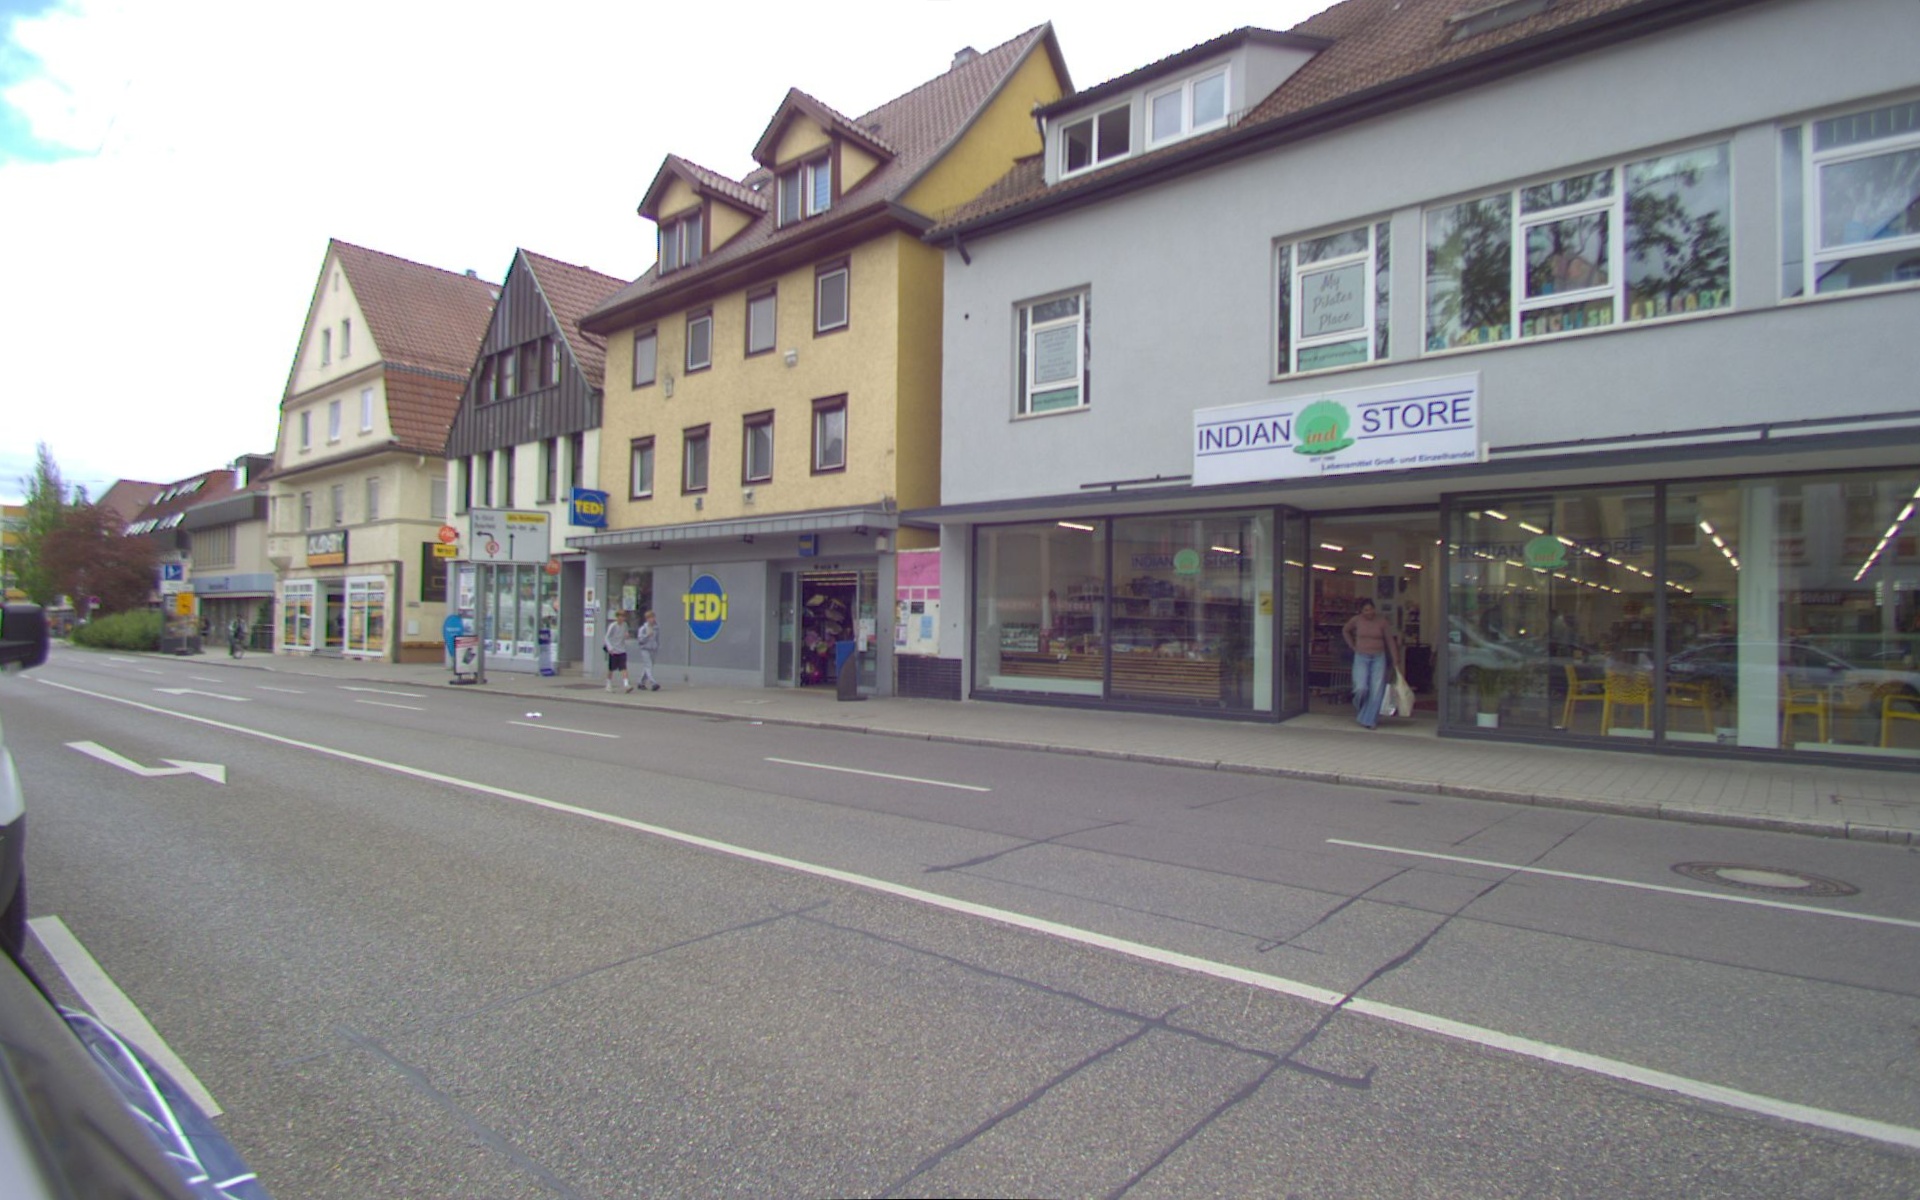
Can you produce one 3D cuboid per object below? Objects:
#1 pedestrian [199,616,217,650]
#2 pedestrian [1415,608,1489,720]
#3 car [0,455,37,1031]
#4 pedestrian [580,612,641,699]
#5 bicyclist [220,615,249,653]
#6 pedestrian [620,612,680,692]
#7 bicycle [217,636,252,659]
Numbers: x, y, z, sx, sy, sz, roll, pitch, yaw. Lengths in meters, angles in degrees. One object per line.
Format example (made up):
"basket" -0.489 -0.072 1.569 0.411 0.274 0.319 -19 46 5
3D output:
"pedestrian" -43.704 1.921 58.835 0.678 1.917 0.665 -1 -2 41
"pedestrian" 7.228 0.920 14.910 0.840 1.592 0.721 0 -2 15
"car" -6.062 0.548 4.754 5.777 1.994 1.915 -1 0 41
"pedestrian" -6.979 1.084 20.196 0.920 1.674 0.801 -1 -2 42
"bicyclist" -27.929 1.310 38.956 0.762 1.434 0.752 2 -2 -44
"pedestrian" -6.358 1.057 20.760 0.920 1.595 0.801 -1 -2 42
"bicycle" -27.932 1.801 38.930 0.762 0.829 2.242 2 -2 -44
